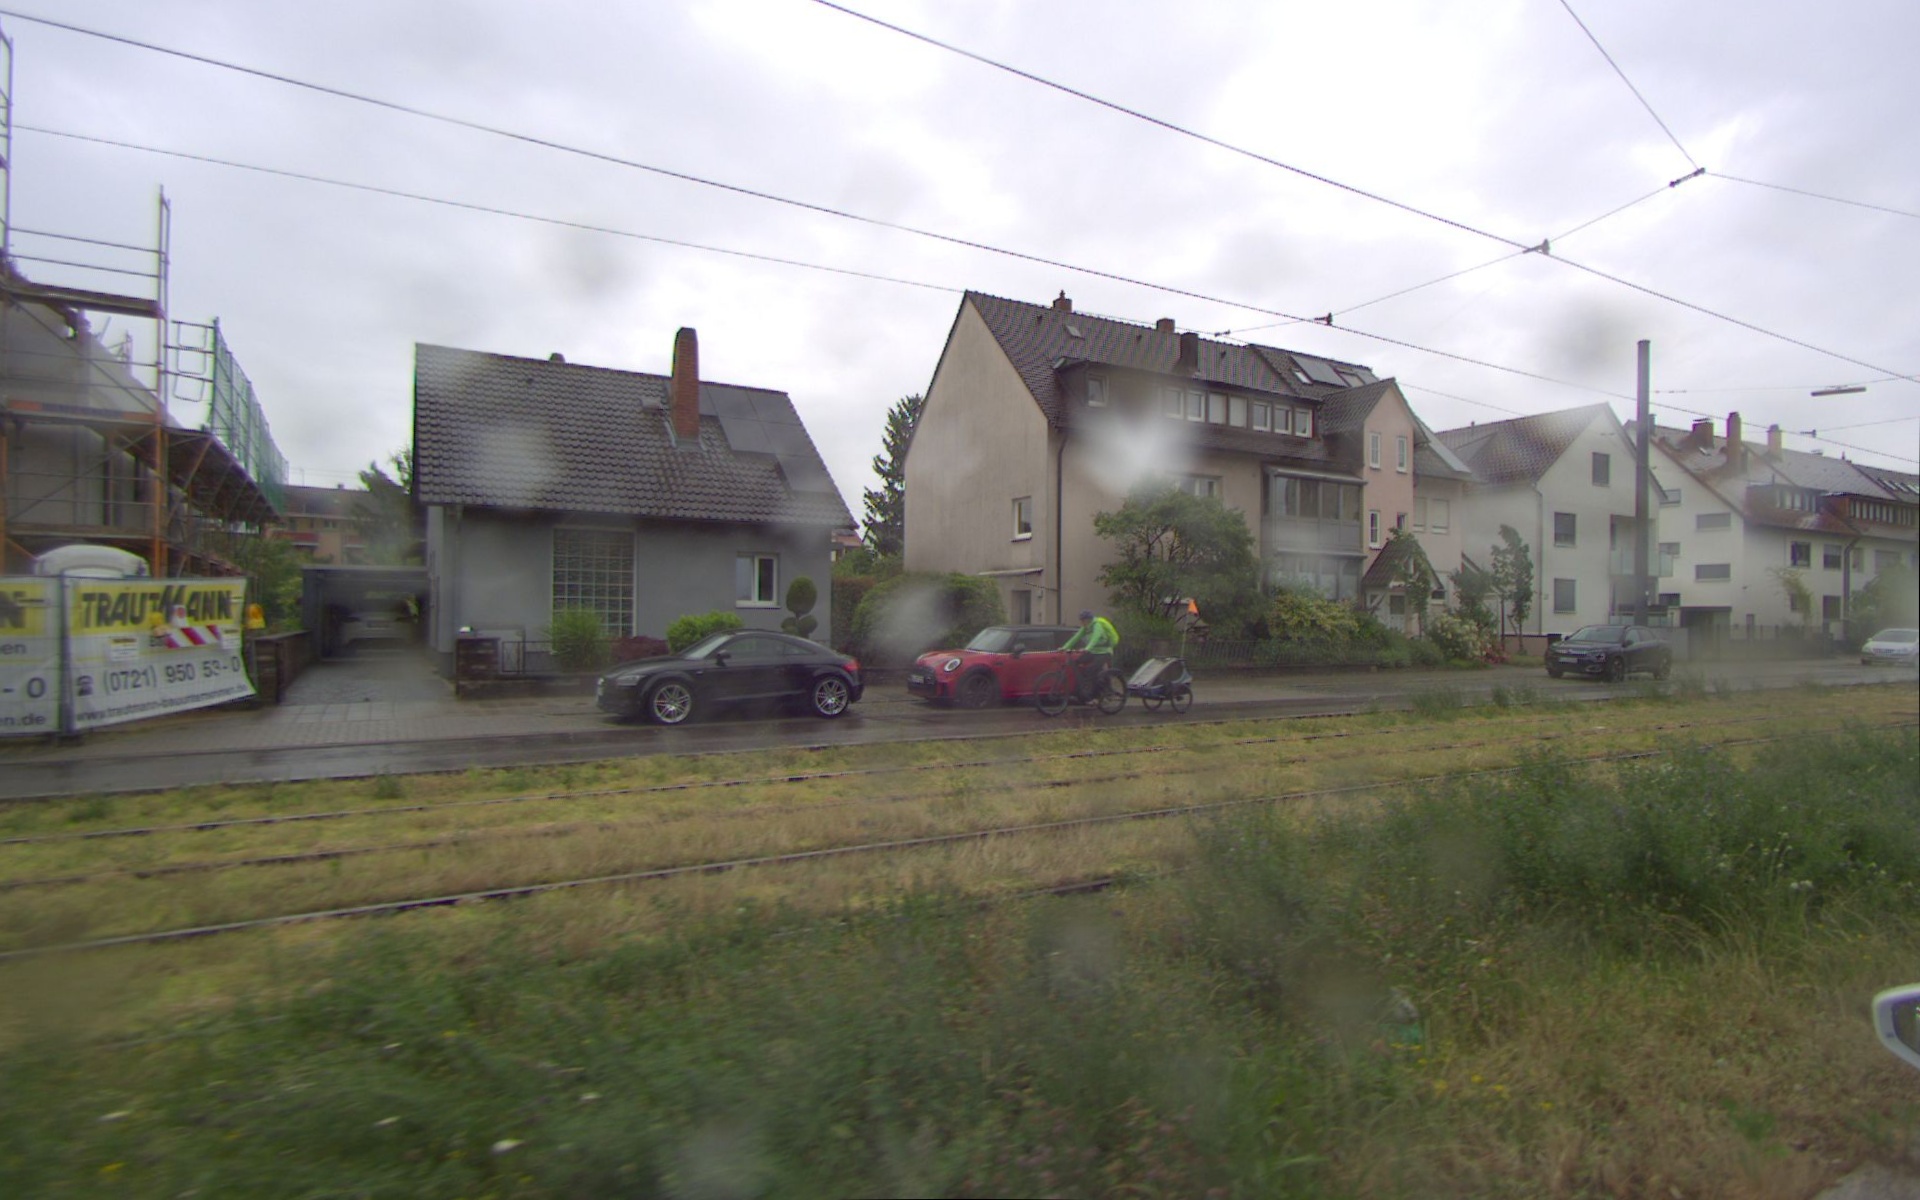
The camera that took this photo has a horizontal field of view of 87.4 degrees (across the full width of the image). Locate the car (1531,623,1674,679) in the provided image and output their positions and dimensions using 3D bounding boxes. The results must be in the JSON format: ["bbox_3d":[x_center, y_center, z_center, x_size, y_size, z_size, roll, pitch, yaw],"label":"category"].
[{"bbox_3d":[18.399,1.434,28.735,4.127,1.446,1.827,2,0,-31],"label":"car"}]

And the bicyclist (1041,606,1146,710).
[{"bbox_3d":[2.170,0.927,16.390,1.384,1.605,0.949,2,0,-31],"label":"bicyclist"}]

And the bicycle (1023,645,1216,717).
[{"bbox_3d":[2.708,1.314,16.729,3.396,1.057,0.929,2,0,-32],"label":"bicycle"}]

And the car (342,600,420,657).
[{"bbox_3d":[-16.819,0.795,29.329,1.772,1.506,3.971,2,0,-28],"label":"car"}]

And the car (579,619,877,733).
[{"bbox_3d":[-3.568,1.067,15.591,4.126,1.428,1.983,-1,1,-31],"label":"car"}]

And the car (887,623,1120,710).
[{"bbox_3d":[0.811,1.169,18.401,3.800,1.391,1.983,2,-1,-31],"label":"car"}]

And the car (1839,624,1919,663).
[{"bbox_3d":[36.930,1.731,39.921,3.616,1.432,1.983,2,-1,-31],"label":"car"}]
